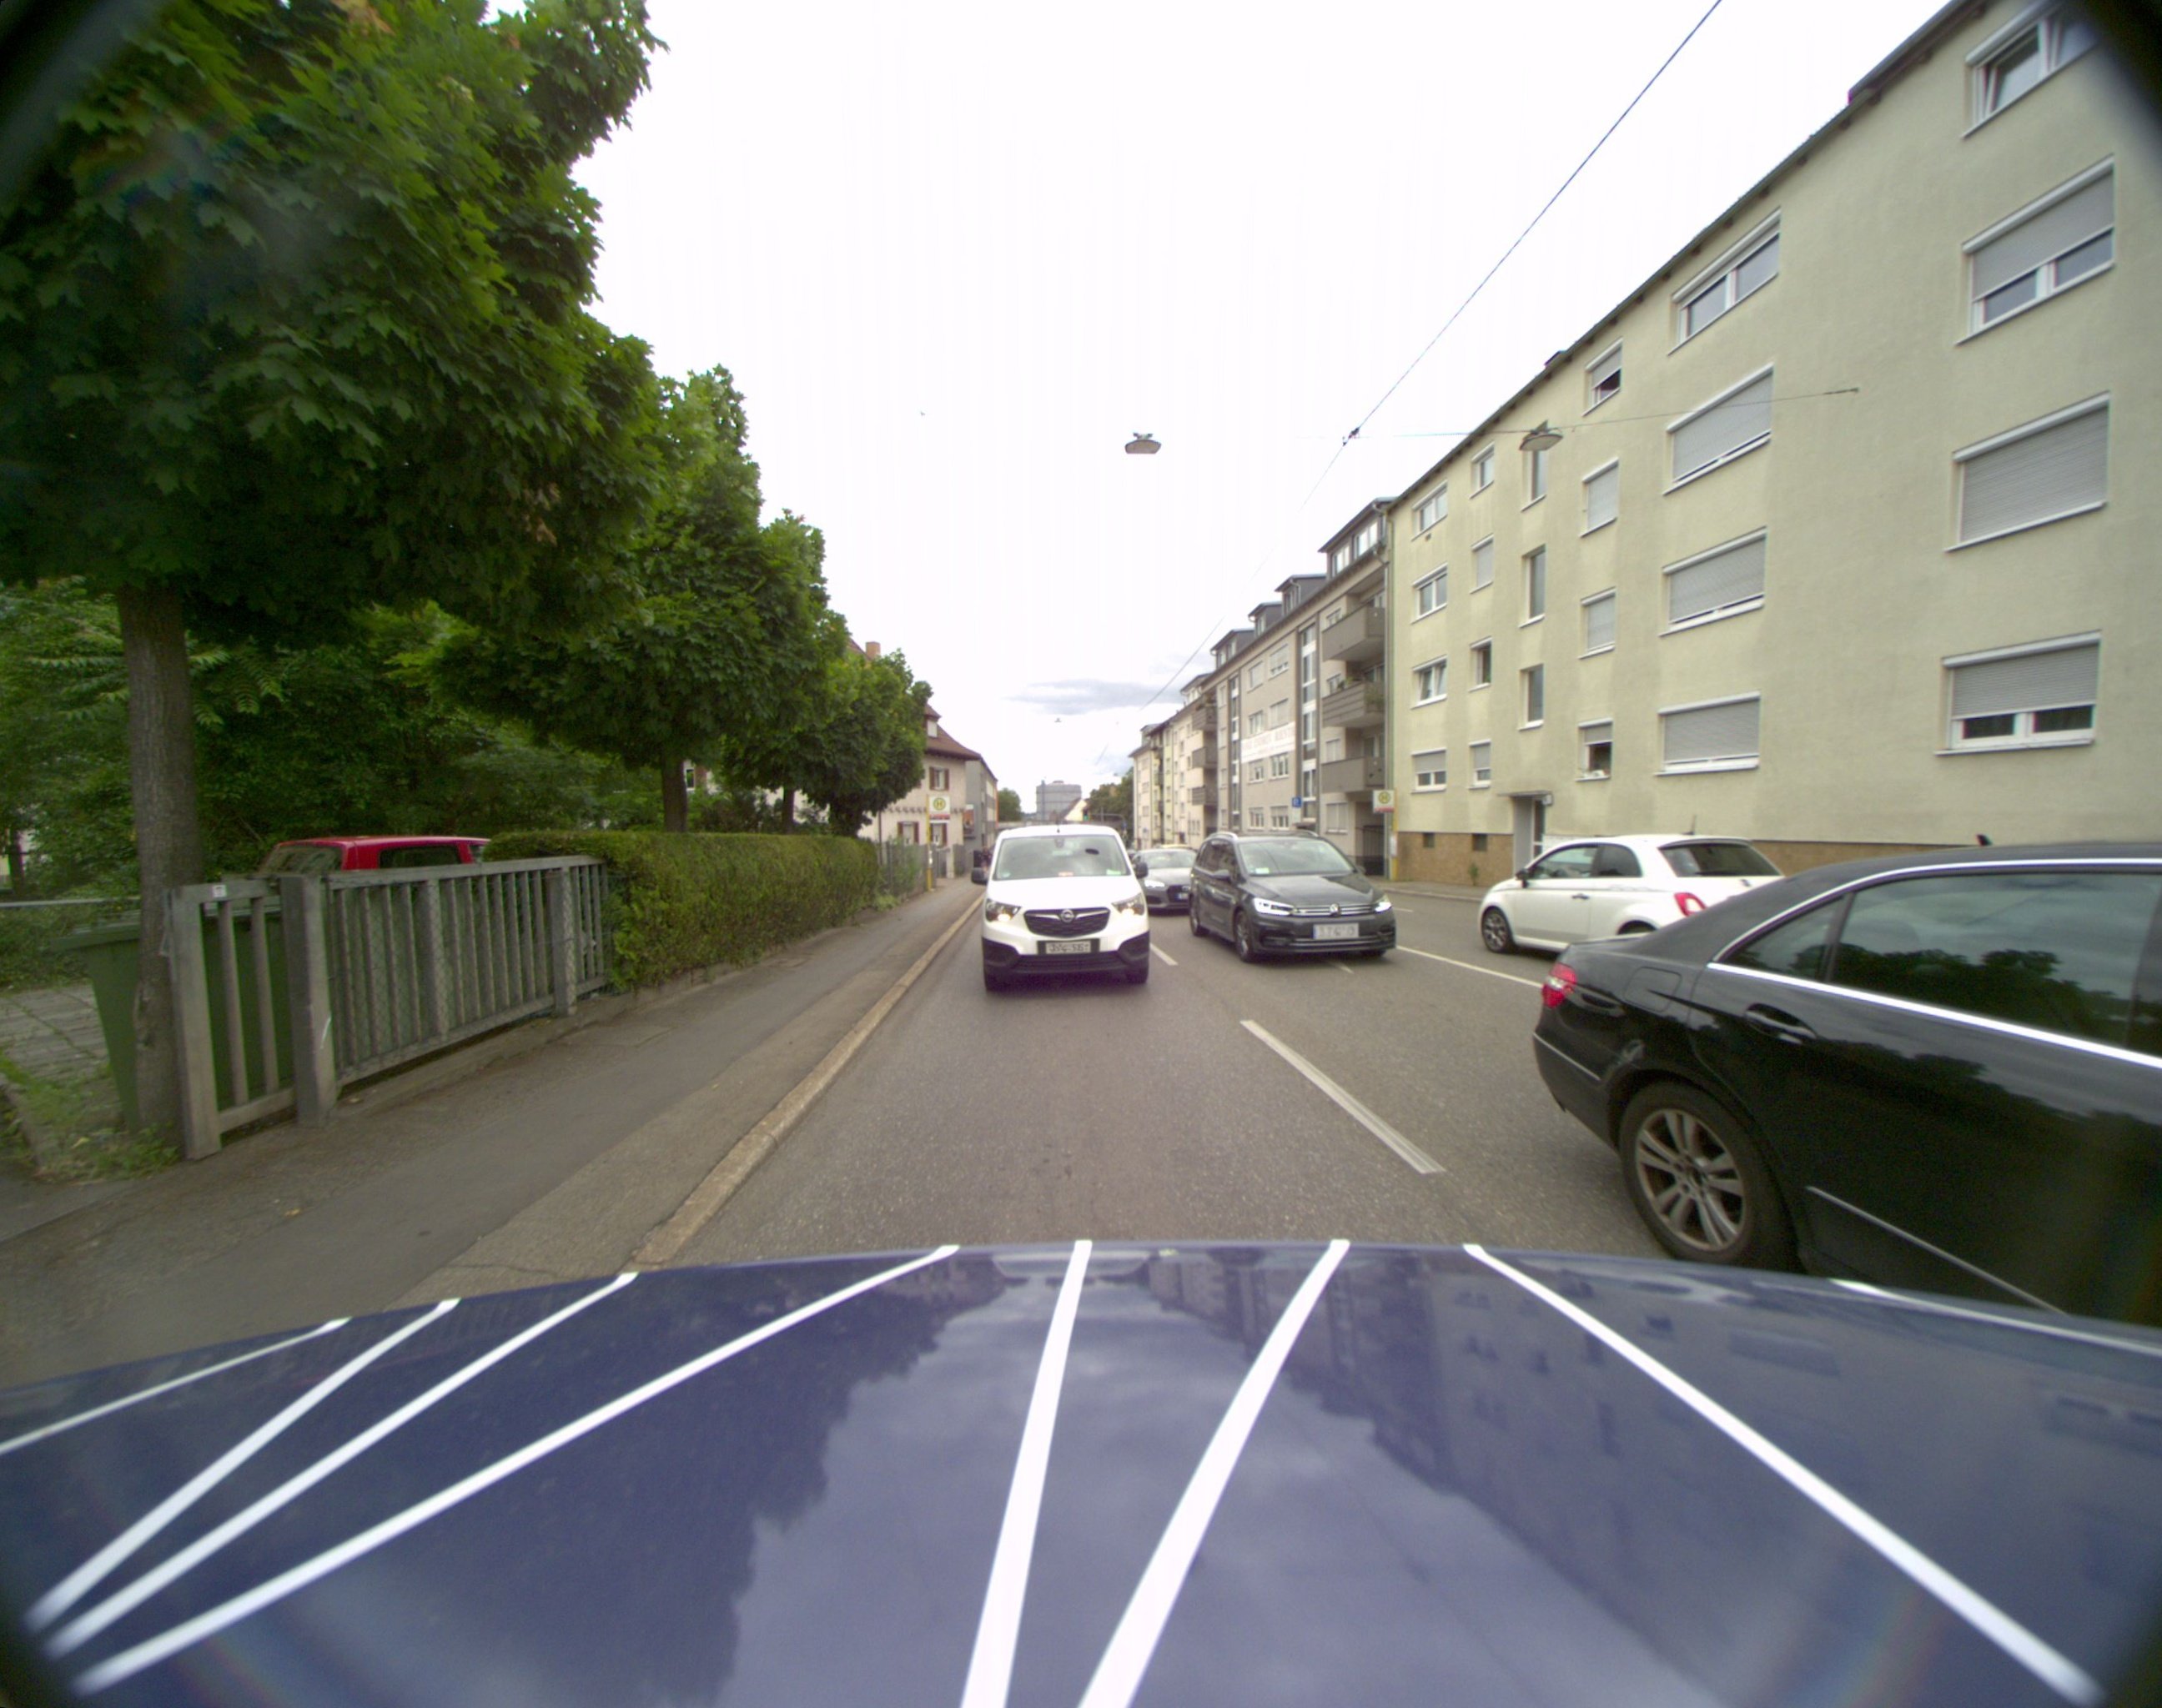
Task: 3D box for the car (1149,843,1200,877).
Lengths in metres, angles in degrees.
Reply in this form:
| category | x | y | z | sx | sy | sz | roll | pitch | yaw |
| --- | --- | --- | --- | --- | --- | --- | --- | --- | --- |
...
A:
| category | x | y | z | sx | sy | sz | roll | pitch | yaw |
| --- | --- | --- | --- | --- | --- | --- | --- | --- | --- |
| car | 4.260 | 0.240 | 35.084 | 1.602 | 1.509 | 3.457 | 0 | 1 | -5 |

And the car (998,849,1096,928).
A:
| category | x | y | z | sx | sy | sz | roll | pitch | yaw |
| --- | --- | --- | --- | --- | --- | --- | --- | --- | --- |
| car | -0.917 | 0.733 | 17.729 | 1.900 | 1.501 | 4.165 | -4 | 0 | -6 |

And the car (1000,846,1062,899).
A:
| category | x | y | z | sx | sy | sz | roll | pitch | yaw |
| --- | --- | --- | --- | --- | --- | --- | --- | --- | --- |
| car | -1.768 | 0.560 | 25.847 | 1.900 | 1.635 | 3.996 | 0 | 1 | -7 |

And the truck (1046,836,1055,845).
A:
| category | x | y | z | sx | sy | sz | roll | pitch | yaw |
| --- | --- | --- | --- | --- | --- | --- | --- | --- | --- |
| truck | -9.299 | -4.052 | 229.598 | 2.547 | 2.522 | 5.492 | -1 | 1 | -3 |

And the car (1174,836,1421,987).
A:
| category | x | y | z | sx | sy | sz | roll | pitch | yaw |
| --- | --- | --- | --- | --- | --- | --- | --- | --- | --- |
| car | 2.708 | 0.591 | 10.699 | 1.863 | 1.602 | 4.476 | -2 | 1 | -4 |

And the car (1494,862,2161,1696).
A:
| category | x | y | z | sx | sy | sz | roll | pitch | yaw |
| --- | --- | --- | --- | --- | --- | --- | --- | --- | --- |
| car | 2.965 | 0.810 | 1.147 | 1.999 | 1.420 | 4.841 | -2 | 1 | -1 |

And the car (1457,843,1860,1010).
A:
| category | x | y | z | sx | sy | sz | roll | pitch | yaw |
| --- | --- | --- | --- | --- | --- | --- | --- | --- | --- |
| car | 6.021 | 0.617 | 8.500 | 1.603 | 1.439 | 3.527 | -1 | 1 | -6 |

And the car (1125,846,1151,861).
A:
| category | x | y | z | sx | sy | sz | roll | pitch | yaw |
| --- | --- | --- | --- | --- | --- | --- | --- | --- | --- |
| car | 5.349 | -0.074 | 72.202 | 1.776 | 1.395 | 3.756 | 0 | 1 | -7 |

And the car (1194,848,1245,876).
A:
| category | x | y | z | sx | sy | sz | roll | pitch | yaw |
| --- | --- | --- | --- | --- | --- | --- | --- | --- | --- |
| car | 7.249 | 0.419 | 40.183 | 1.670 | 1.368 | 3.537 | 0 | 1 | -7 |

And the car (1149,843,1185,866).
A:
| category | x | y | z | sx | sy | sz | roll | pitch | yaw |
| --- | --- | --- | --- | --- | --- | --- | --- | --- | --- |
| car | 6.242 | 0.039 | 55.425 | 1.776 | 1.592 | 3.537 | 0 | 1 | -7 |

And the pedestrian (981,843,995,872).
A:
| category | x | y | z | sx | sy | sz | roll | pitch | yaw |
| --- | --- | --- | --- | --- | --- | --- | --- | --- | --- |
| pedestrian | -5.901 | 0.240 | 48.147 | 0.646 | 1.830 | 0.593 | -1 | 1 | 14 |

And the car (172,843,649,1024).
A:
| category | x | y | z | sx | sy | sz | roll | pitch | yaw |
| --- | --- | --- | --- | --- | --- | --- | --- | --- | --- |
| car | -6.900 | 0.675 | 8.306 | 1.698 | 1.452 | 3.443 | -2 | 2 | 19 |

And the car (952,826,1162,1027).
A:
| category | x | y | z | sx | sy | sz | roll | pitch | yaw |
| --- | --- | --- | --- | --- | --- | --- | --- | --- | --- |
| car | -0.277 | 0.613 | 9.333 | 1.862 | 1.772 | 4.709 | -2 | 1 | -2 |

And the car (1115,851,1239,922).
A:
| category | x | y | z | sx | sy | sz | roll | pitch | yaw |
| --- | --- | --- | --- | --- | --- | --- | --- | --- | --- |
| car | 2.028 | 0.645 | 17.279 | 1.883 | 1.347 | 4.143 | -1 | 1 | -6 |
